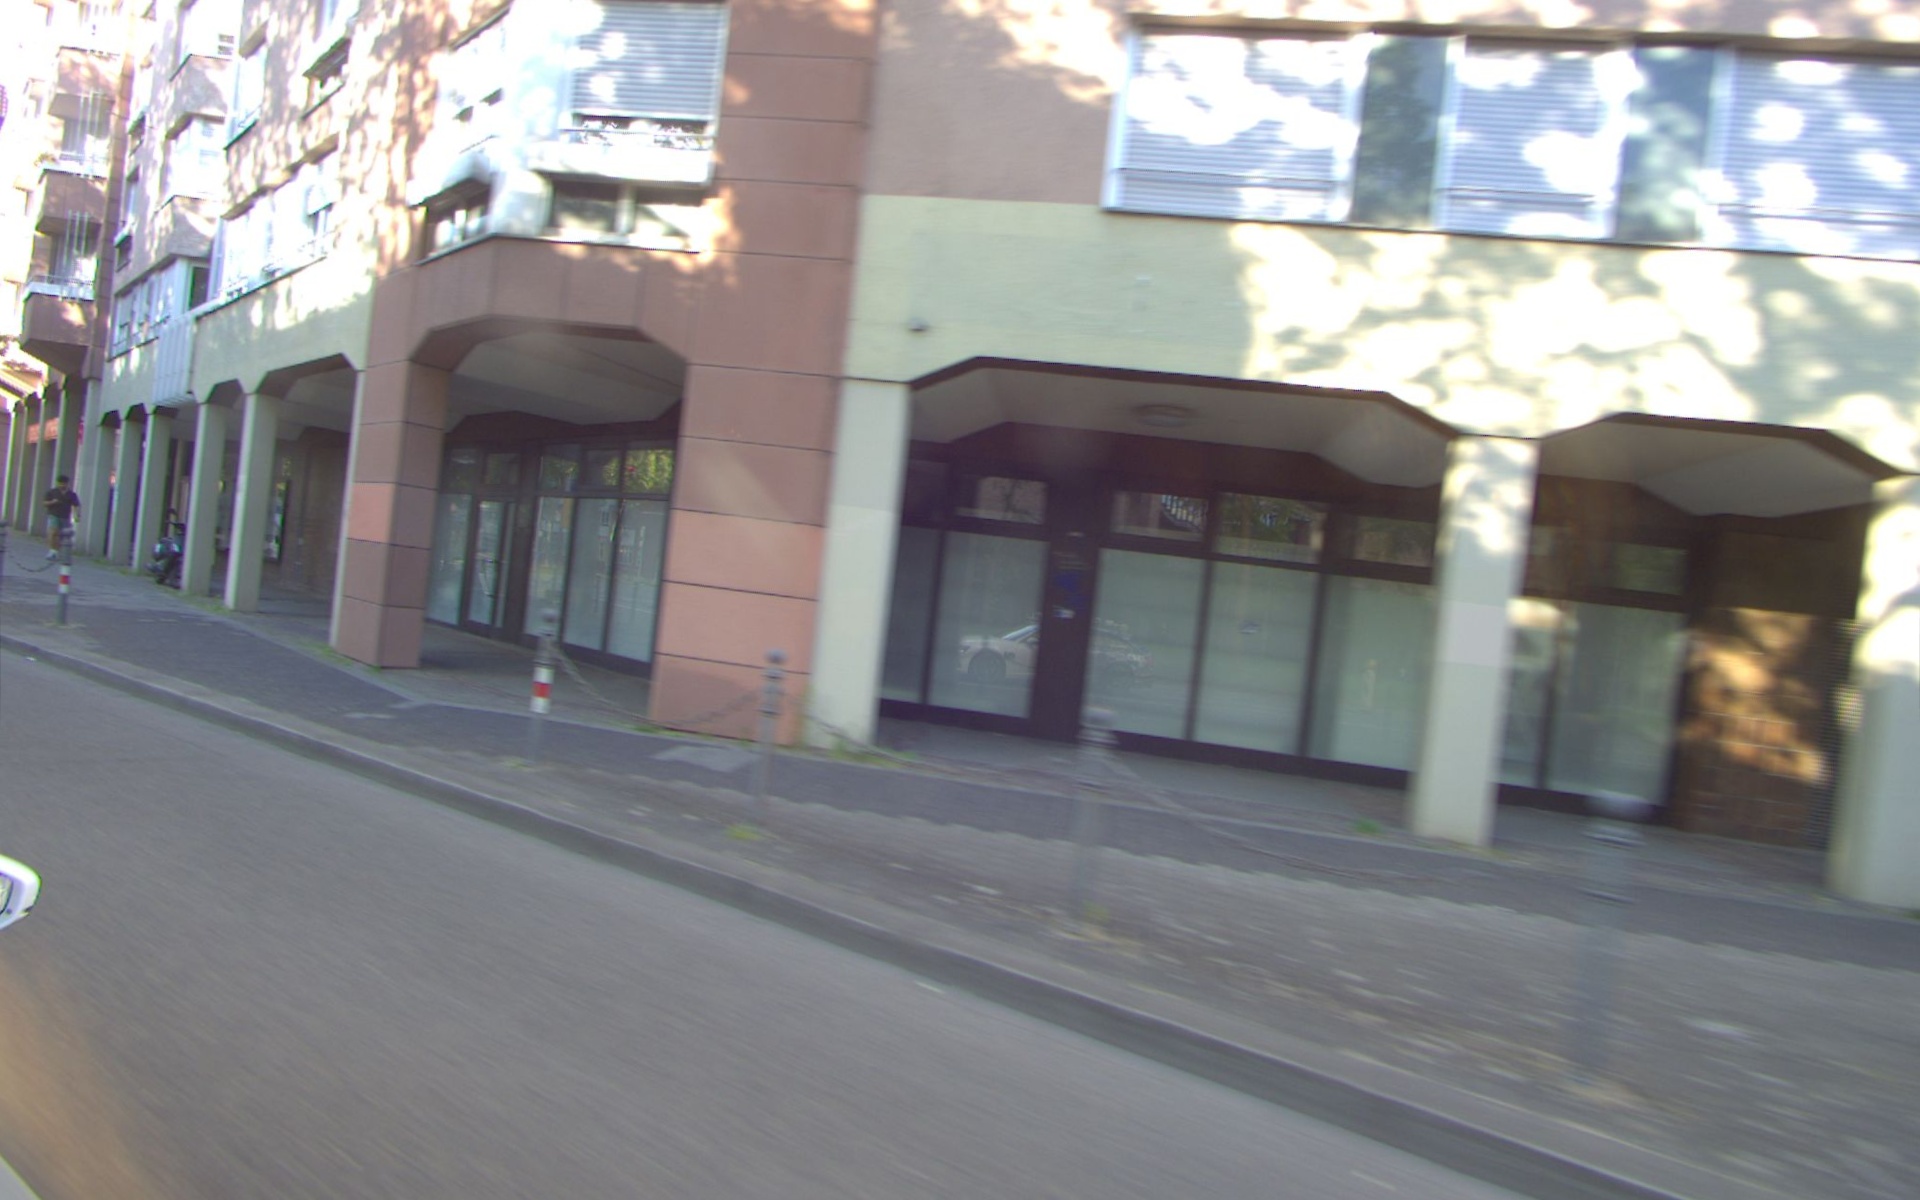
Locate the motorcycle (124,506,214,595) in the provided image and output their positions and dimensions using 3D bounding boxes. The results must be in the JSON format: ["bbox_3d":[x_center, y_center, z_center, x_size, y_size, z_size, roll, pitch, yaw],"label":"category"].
[{"bbox_3d":[-14.177,-0.901,18.018,2.056,1.389,0.489,7,1,32],"label":"motorcycle"}]

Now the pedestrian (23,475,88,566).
[{"bbox_3d":[-18.918,-1.661,21.050,0.825,1.760,0.780,7,1,40],"label":"pedestrian"}]
